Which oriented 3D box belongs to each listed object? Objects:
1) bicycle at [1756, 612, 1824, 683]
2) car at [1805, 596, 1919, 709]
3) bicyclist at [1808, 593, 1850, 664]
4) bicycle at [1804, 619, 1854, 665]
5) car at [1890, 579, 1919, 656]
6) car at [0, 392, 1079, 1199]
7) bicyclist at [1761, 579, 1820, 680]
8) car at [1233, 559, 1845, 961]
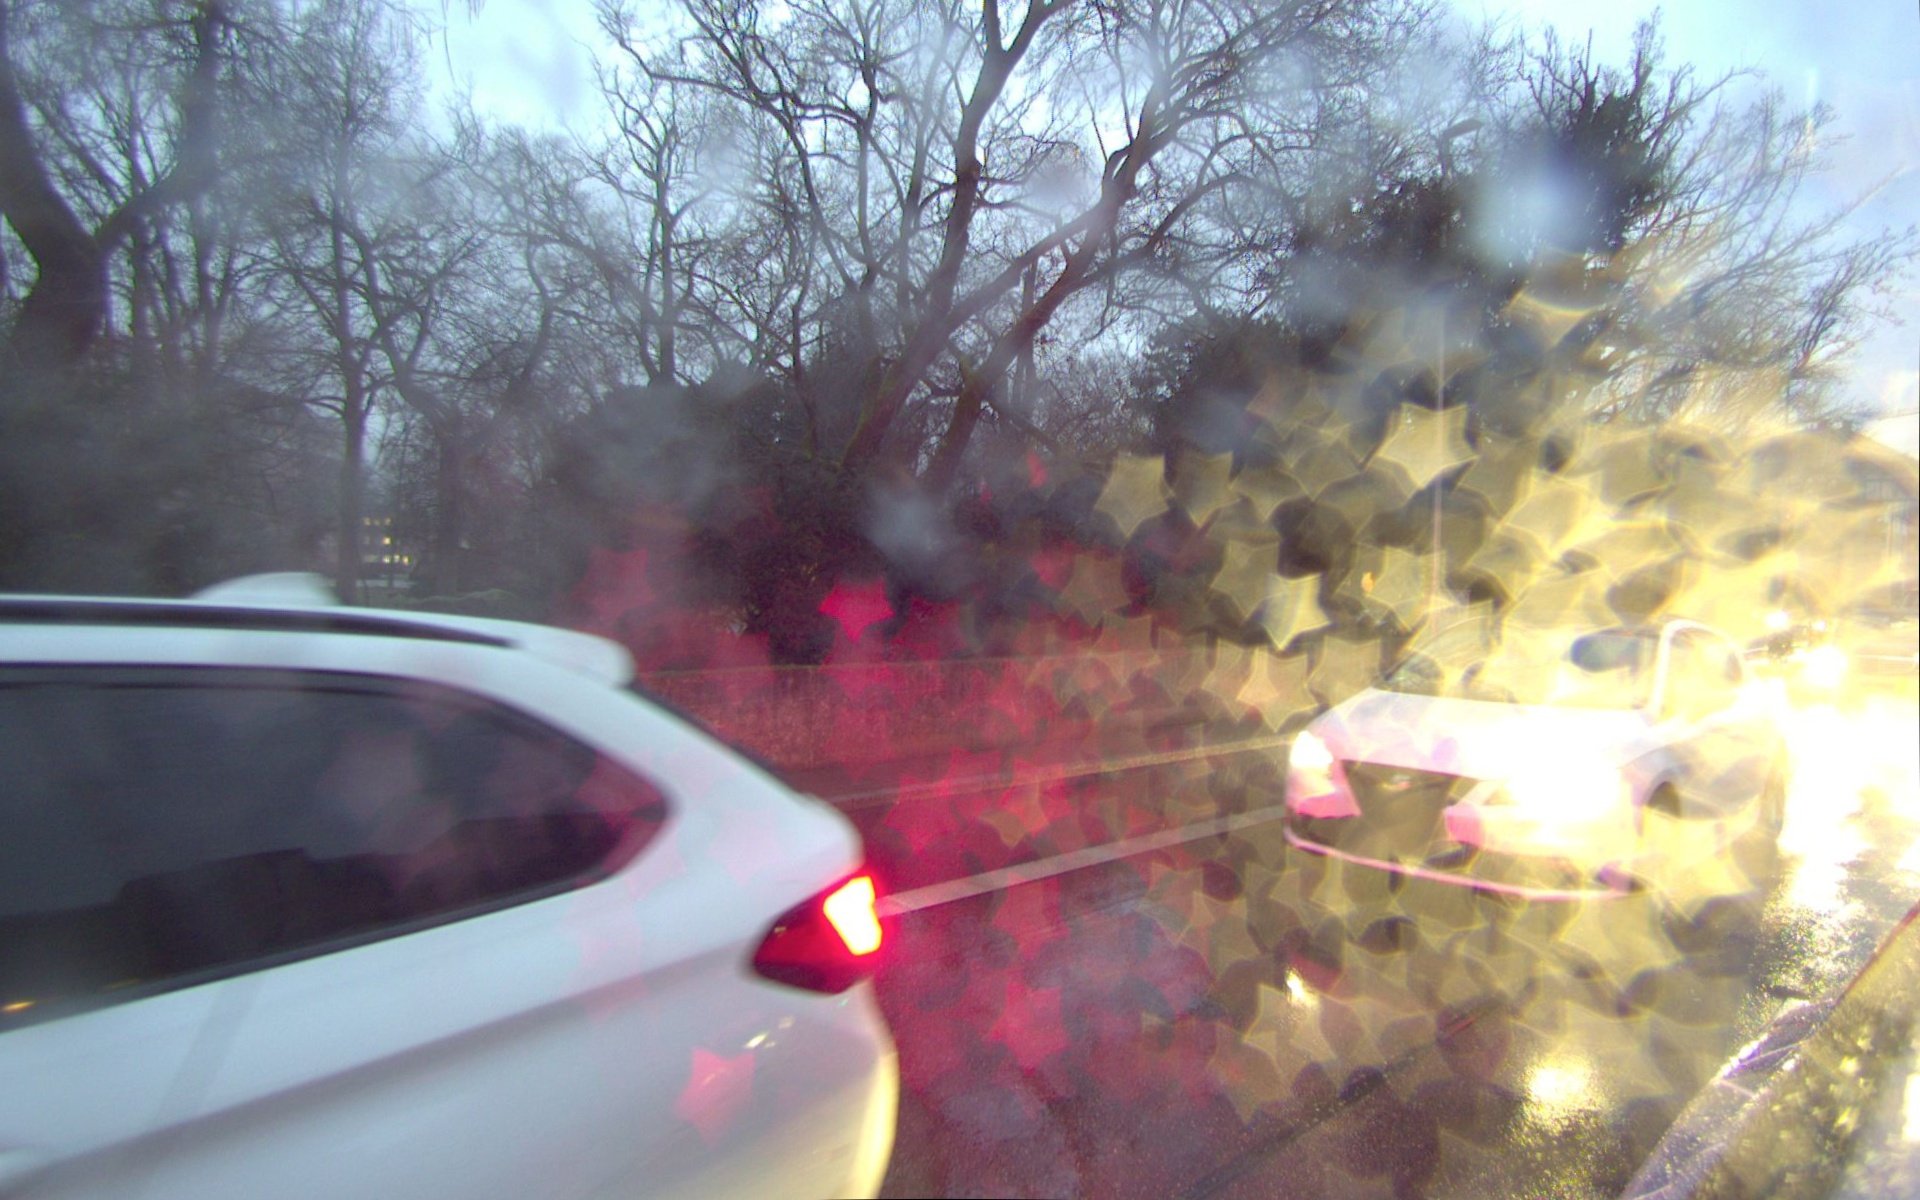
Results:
[{"bbox_3d":[19.023,1.037,23.163,0.965,1.469,3.337,0,0,43],"label":"bicycle"},{"bbox_3d":[15.411,0.763,16.435,4.196,1.648,2.070,0,0,-43],"label":"car"},{"bbox_3d":[21.429,0.689,24.953,0.582,1.706,0.691,0,0,-41],"label":"bicyclist"},{"bbox_3d":[21.422,1.014,24.951,1.691,1.055,0.691,0,0,-41],"label":"bicycle"},{"bbox_3d":[22.426,0.361,22.511,4.193,1.648,2.072,0,0,-40],"label":"car"},{"bbox_3d":[-2.152,0.555,1.069,4.856,1.575,1.864,0,2,-44],"label":"car"},{"bbox_3d":[19.021,0.658,23.176,0.965,2.251,0.920,-1,0,44],"label":"bicyclist"},{"bbox_3d":[3.643,0.609,6.050,4.097,1.580,1.885,0,2,-41],"label":"car"}]
